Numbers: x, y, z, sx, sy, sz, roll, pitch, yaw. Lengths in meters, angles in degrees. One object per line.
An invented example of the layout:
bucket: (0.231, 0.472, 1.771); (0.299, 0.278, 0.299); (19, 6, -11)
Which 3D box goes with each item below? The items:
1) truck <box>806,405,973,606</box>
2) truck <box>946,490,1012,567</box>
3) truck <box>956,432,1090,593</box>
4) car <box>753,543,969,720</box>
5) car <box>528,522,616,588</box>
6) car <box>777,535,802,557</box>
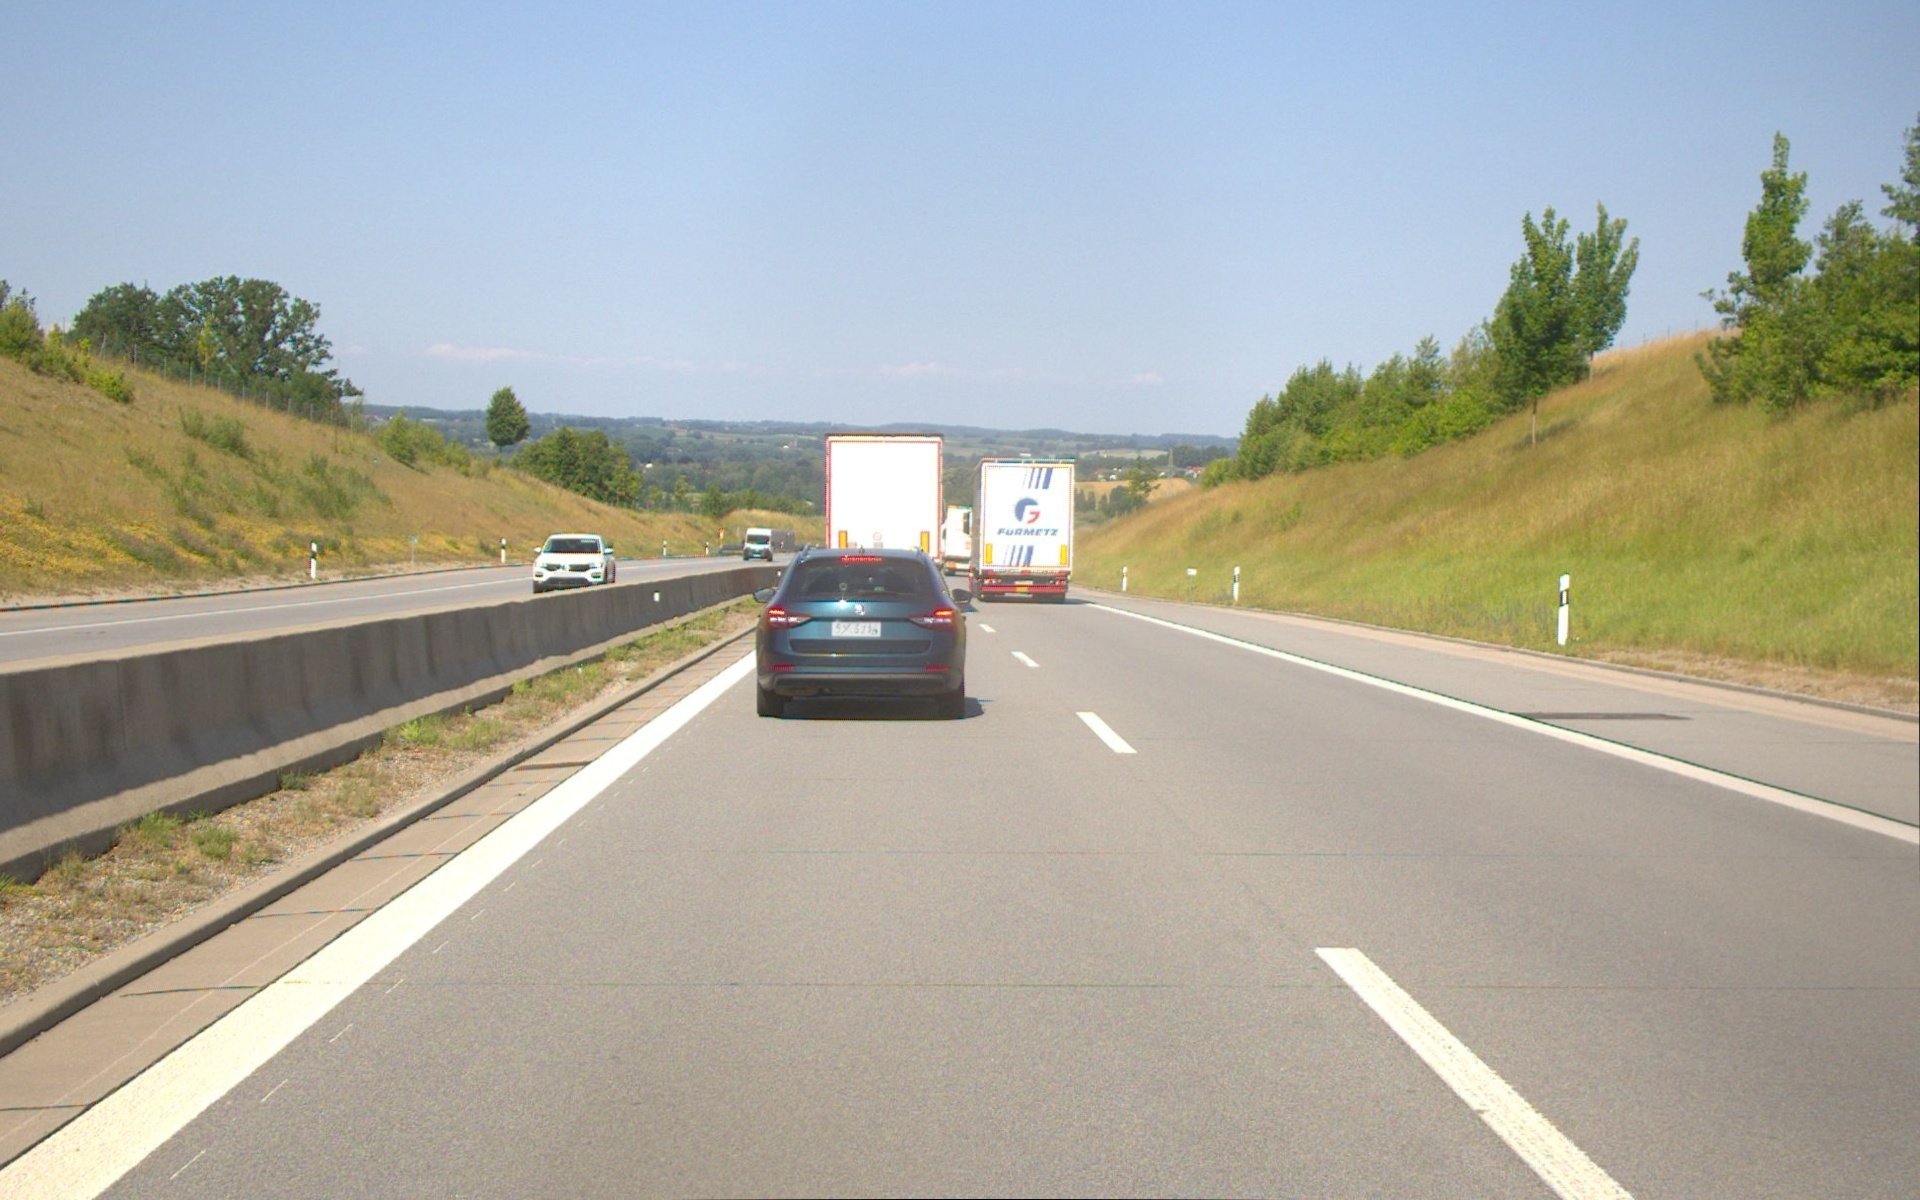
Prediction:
truck: (-1.526, -2.183, 80.994); (3.211, 4.366, 11.233); (1, 1, 2)
truck: (1.179, -4.232, 203.756); (3.604, 4.366, 11.233); (1, 1, 2)
truck: (1.914, -2.505, 99.678); (3.604, 4.366, 11.233); (1, 1, 2)
car: (-0.881, 0.229, 30.261); (1.776, 1.436, 3.789); (0, 1, -2)
car: (-9.673, -1.140, 85.940); (1.775, 1.596, 4.040); (1, 1, -1)
car: (-12.084, -3.826, 243.514); (1.773, 1.444, 4.184); (1, 1, -3)
